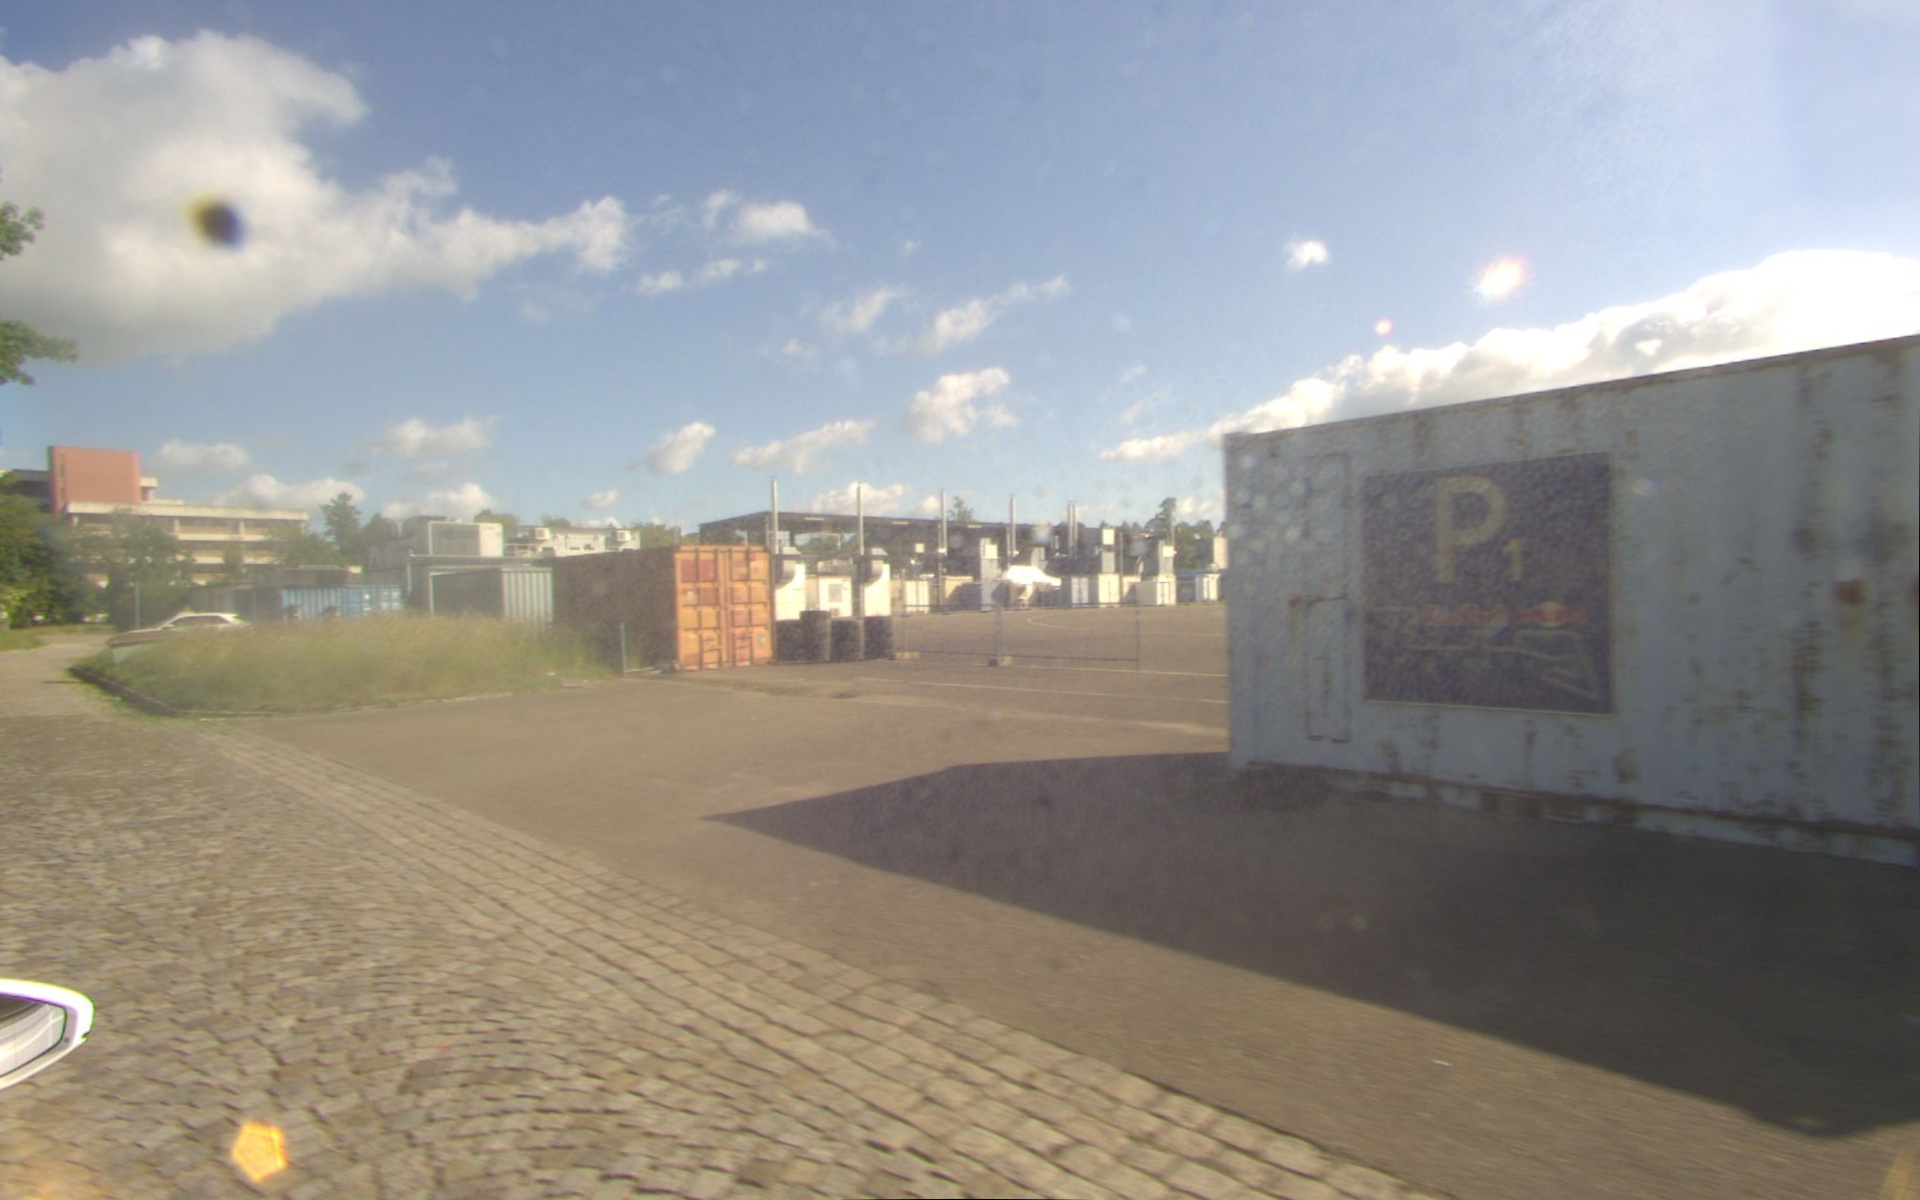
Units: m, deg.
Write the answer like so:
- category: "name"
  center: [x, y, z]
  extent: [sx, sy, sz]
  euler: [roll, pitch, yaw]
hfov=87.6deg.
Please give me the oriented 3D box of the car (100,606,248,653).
- category: "car"
  center: [-32.021, 1.139, 40.889]
  extent: [1.855, 1.700, 4.559]
  euler: [0, 1, 44]
